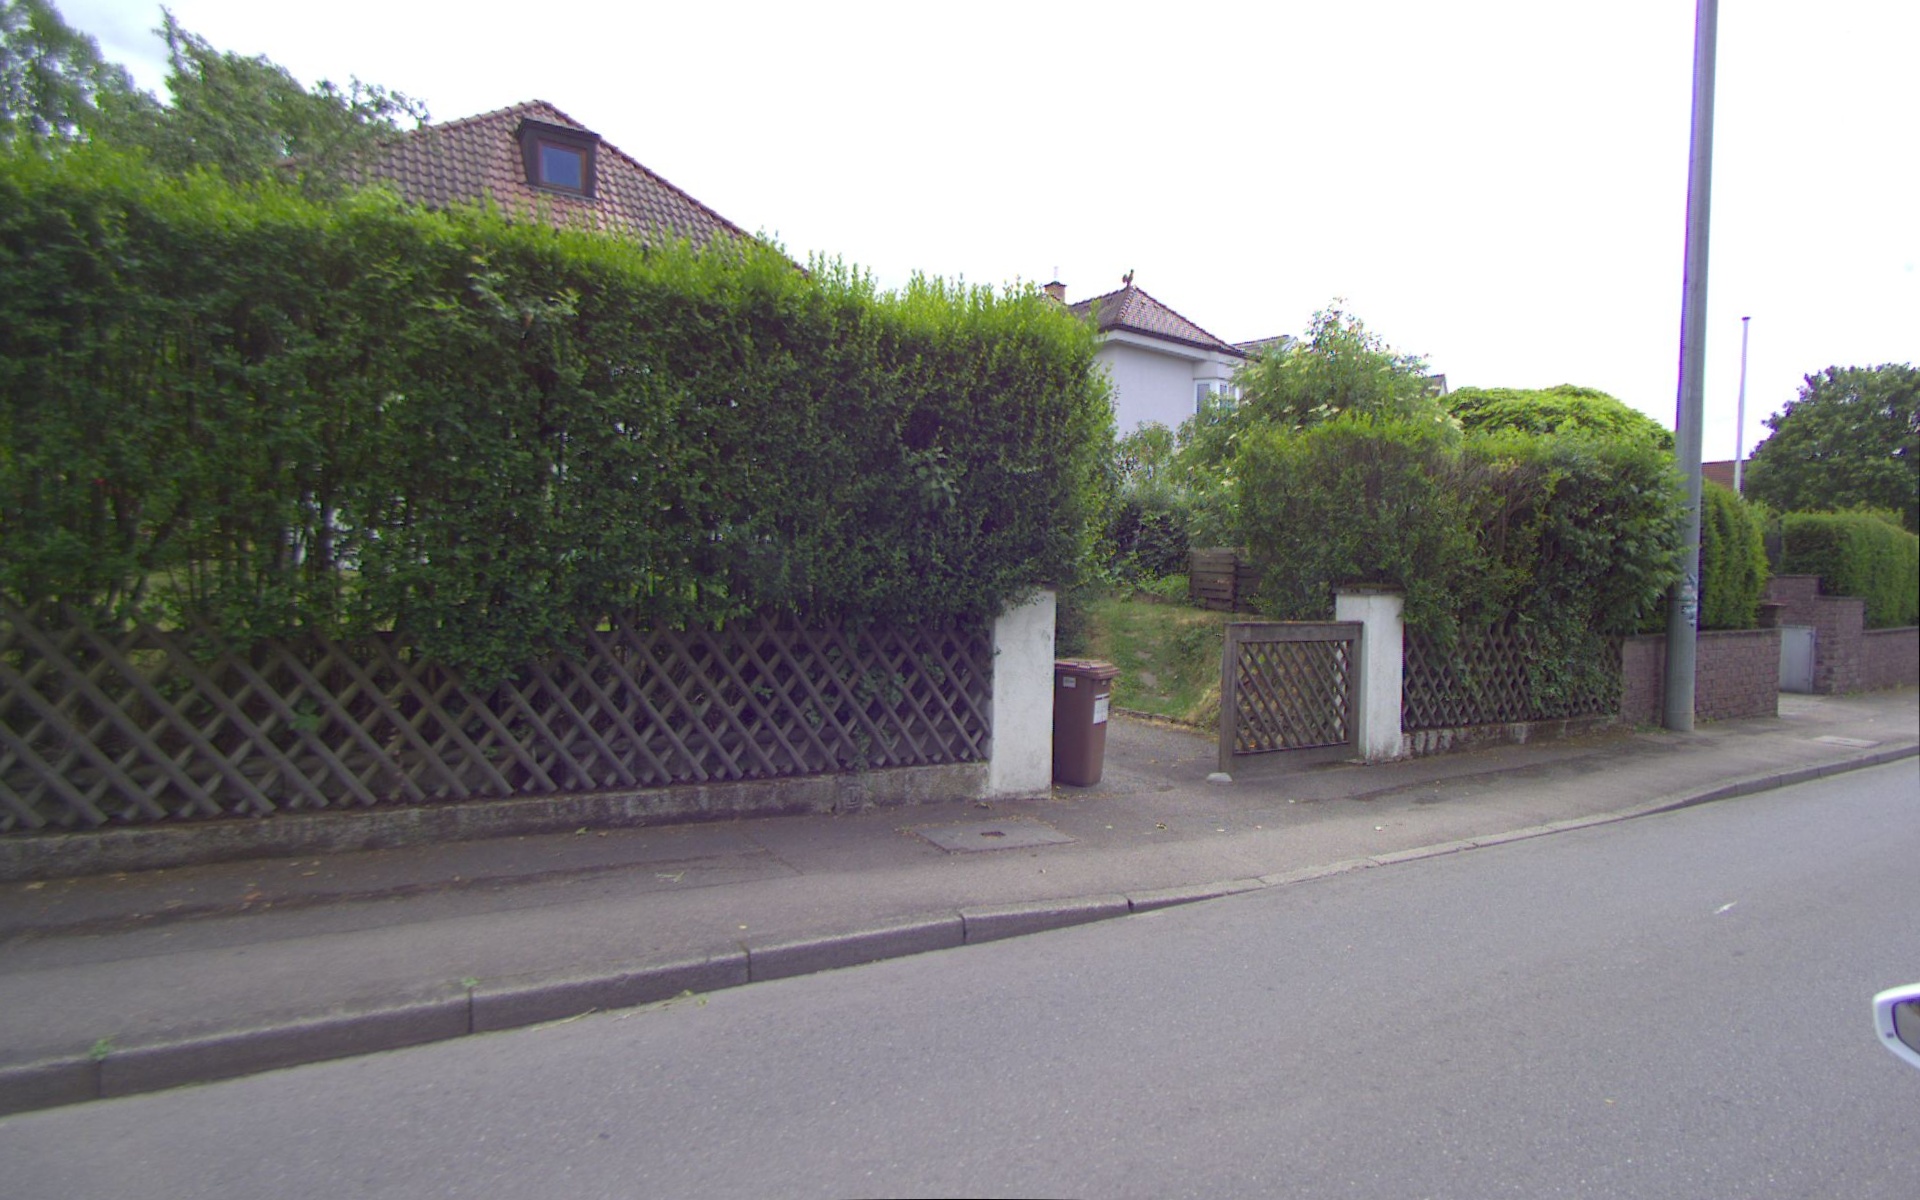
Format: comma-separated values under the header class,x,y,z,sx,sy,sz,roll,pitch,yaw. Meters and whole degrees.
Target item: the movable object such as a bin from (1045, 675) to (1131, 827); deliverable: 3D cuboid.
class,x,y,z,sx,sy,sz,roll,pitch,yaw
movable object such as a bin,0.980,1.126,7.656,0.442,1.045,0.497,2,3,41
